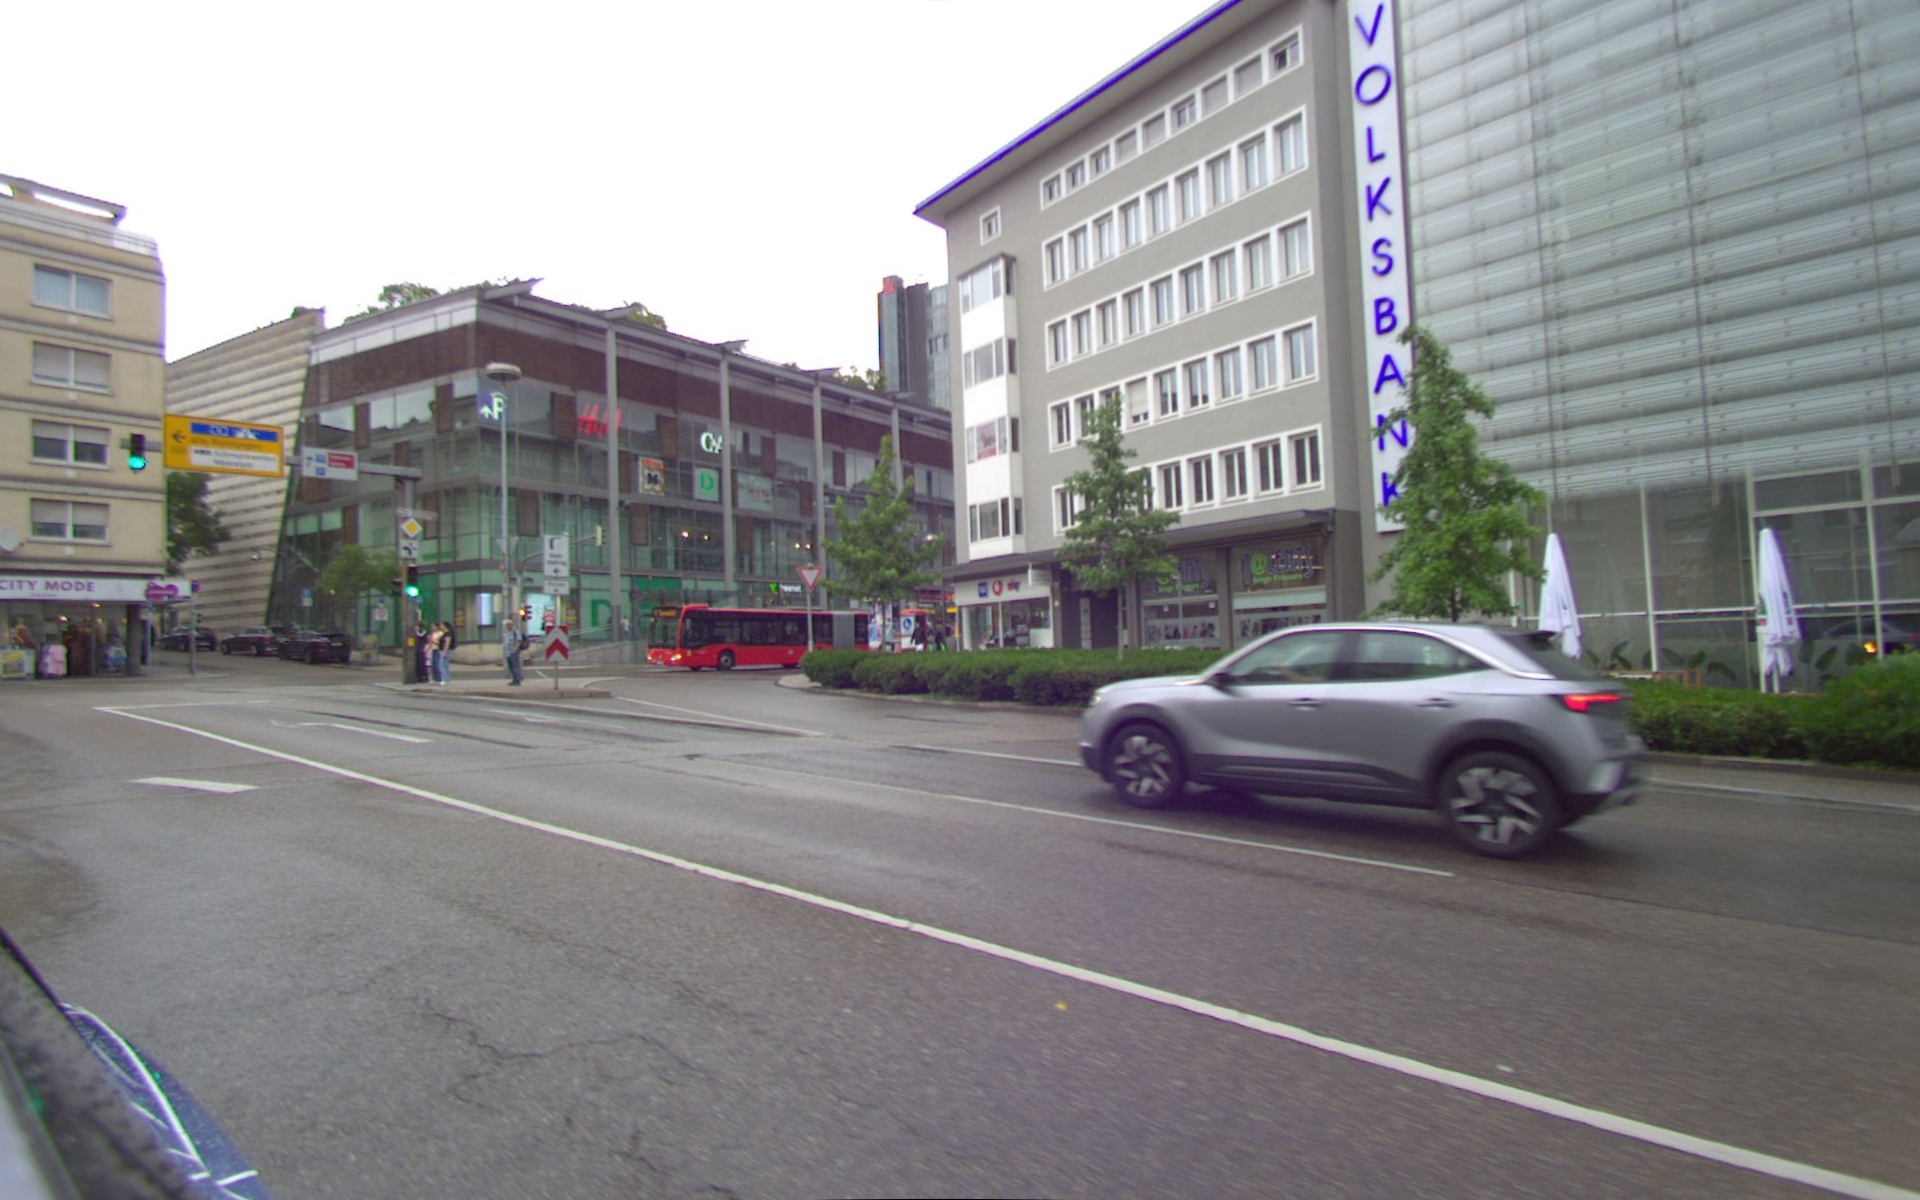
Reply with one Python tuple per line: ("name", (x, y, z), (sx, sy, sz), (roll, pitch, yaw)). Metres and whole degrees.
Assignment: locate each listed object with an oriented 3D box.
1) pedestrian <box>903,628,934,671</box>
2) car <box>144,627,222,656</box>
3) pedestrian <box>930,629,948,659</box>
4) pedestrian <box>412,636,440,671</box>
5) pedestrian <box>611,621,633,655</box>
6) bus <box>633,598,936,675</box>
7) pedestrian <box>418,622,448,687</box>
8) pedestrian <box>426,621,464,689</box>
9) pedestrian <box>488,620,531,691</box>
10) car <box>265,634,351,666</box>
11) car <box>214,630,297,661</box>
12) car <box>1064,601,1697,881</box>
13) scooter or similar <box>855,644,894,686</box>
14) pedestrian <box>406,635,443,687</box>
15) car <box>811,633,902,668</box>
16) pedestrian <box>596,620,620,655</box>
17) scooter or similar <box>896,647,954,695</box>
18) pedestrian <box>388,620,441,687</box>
("pedestrian", (-1.736, 2.072, 42.319), (1.021, 1.789, 0.791), (-1, -4, 31))
("car", (-44.790, 2.386, 58.342), (4.358, 1.558, 1.882), (0, 0, 27))
("pedestrian", (-1.308, 2.666, 61.921), (0.905, 1.816, 0.619), (-2, -4, 42))
("pedestrian", (-27.124, 2.717, 51.441), (1.036, 1.775, 0.693), (-1, -4, 7))
("pedestrian", (-19.914, 2.257, 59.610), (0.876, 1.996, 0.839), (-3, -4, 36))
("bus", (-8.064, 2.062, 52.088), (2.925, 3.346, 18.242), (-2, -4, 37))
("pedestrian", (-13.709, 1.414, 26.329), (0.571, 1.681, 0.494), (-3, -5, 43))
("pedestrian", (-13.189, 1.394, 25.911), (0.629, 1.702, 0.784), (3, -4, -45))
("pedestrian", (-11.649, 1.426, 26.162), (0.829, 1.792, 0.611), (-1, -3, 31))
("car", (-33.605, 2.571, 52.188), (4.275, 1.558, 1.789), (0, -3, 27))
("car", (-38.341, 2.468, 55.100), (4.358, 1.558, 1.882), (0, 0, 27))
("car", (3.004, 0.885, 7.705), (4.091, 1.564, 1.822), (-2, -5, 40))
("scooter or similar", (-2.505, 1.891, 29.558), (0.535, 1.196, 1.388), (2, -5, -34))
("pedestrian", (-14.127, 1.590, 26.704), (0.629, 1.350, 0.582), (-1, -3, 30))
("car", (-6.348, 3.121, 62.716), (2.446, 2.091, 5.838), (-1, -3, 34))
("pedestrian", (-20.488, 2.213, 58.853), (0.882, 1.996, 0.963), (-3, -4, 36))
("scooter or similar", (-1.054, 2.112, 30.214), (0.916, 1.265, 1.506), (-8, 2, -34))
("pedestrian", (-15.001, 1.453, 27.847), (1.009, 1.801, 0.844), (-1, -3, 30))
